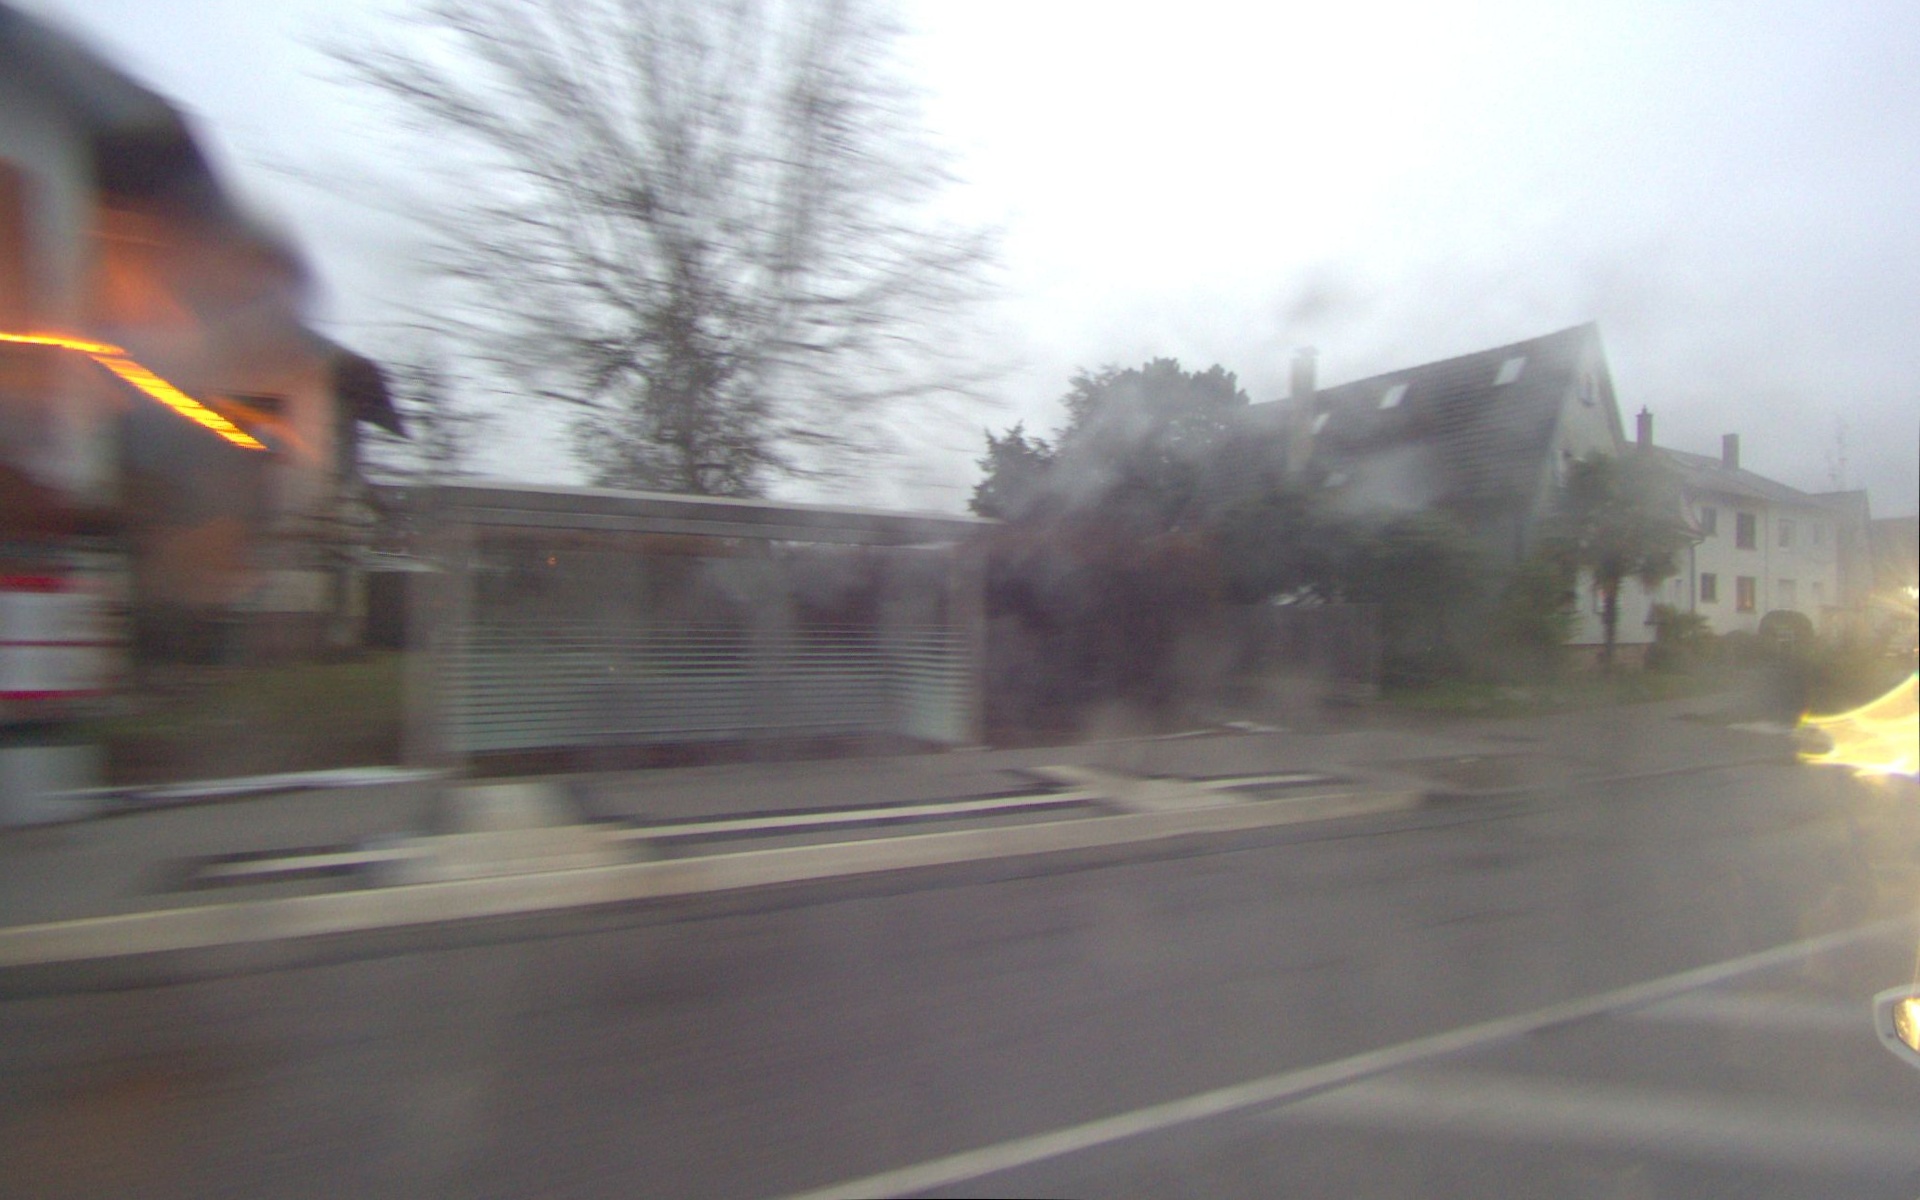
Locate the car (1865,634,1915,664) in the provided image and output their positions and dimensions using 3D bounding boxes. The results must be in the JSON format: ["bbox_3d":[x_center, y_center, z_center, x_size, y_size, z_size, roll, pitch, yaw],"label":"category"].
[{"bbox_3d":[48.487,2.557,52.440,1.757,1.411,3.980,2,-1,41],"label":"car"}]
